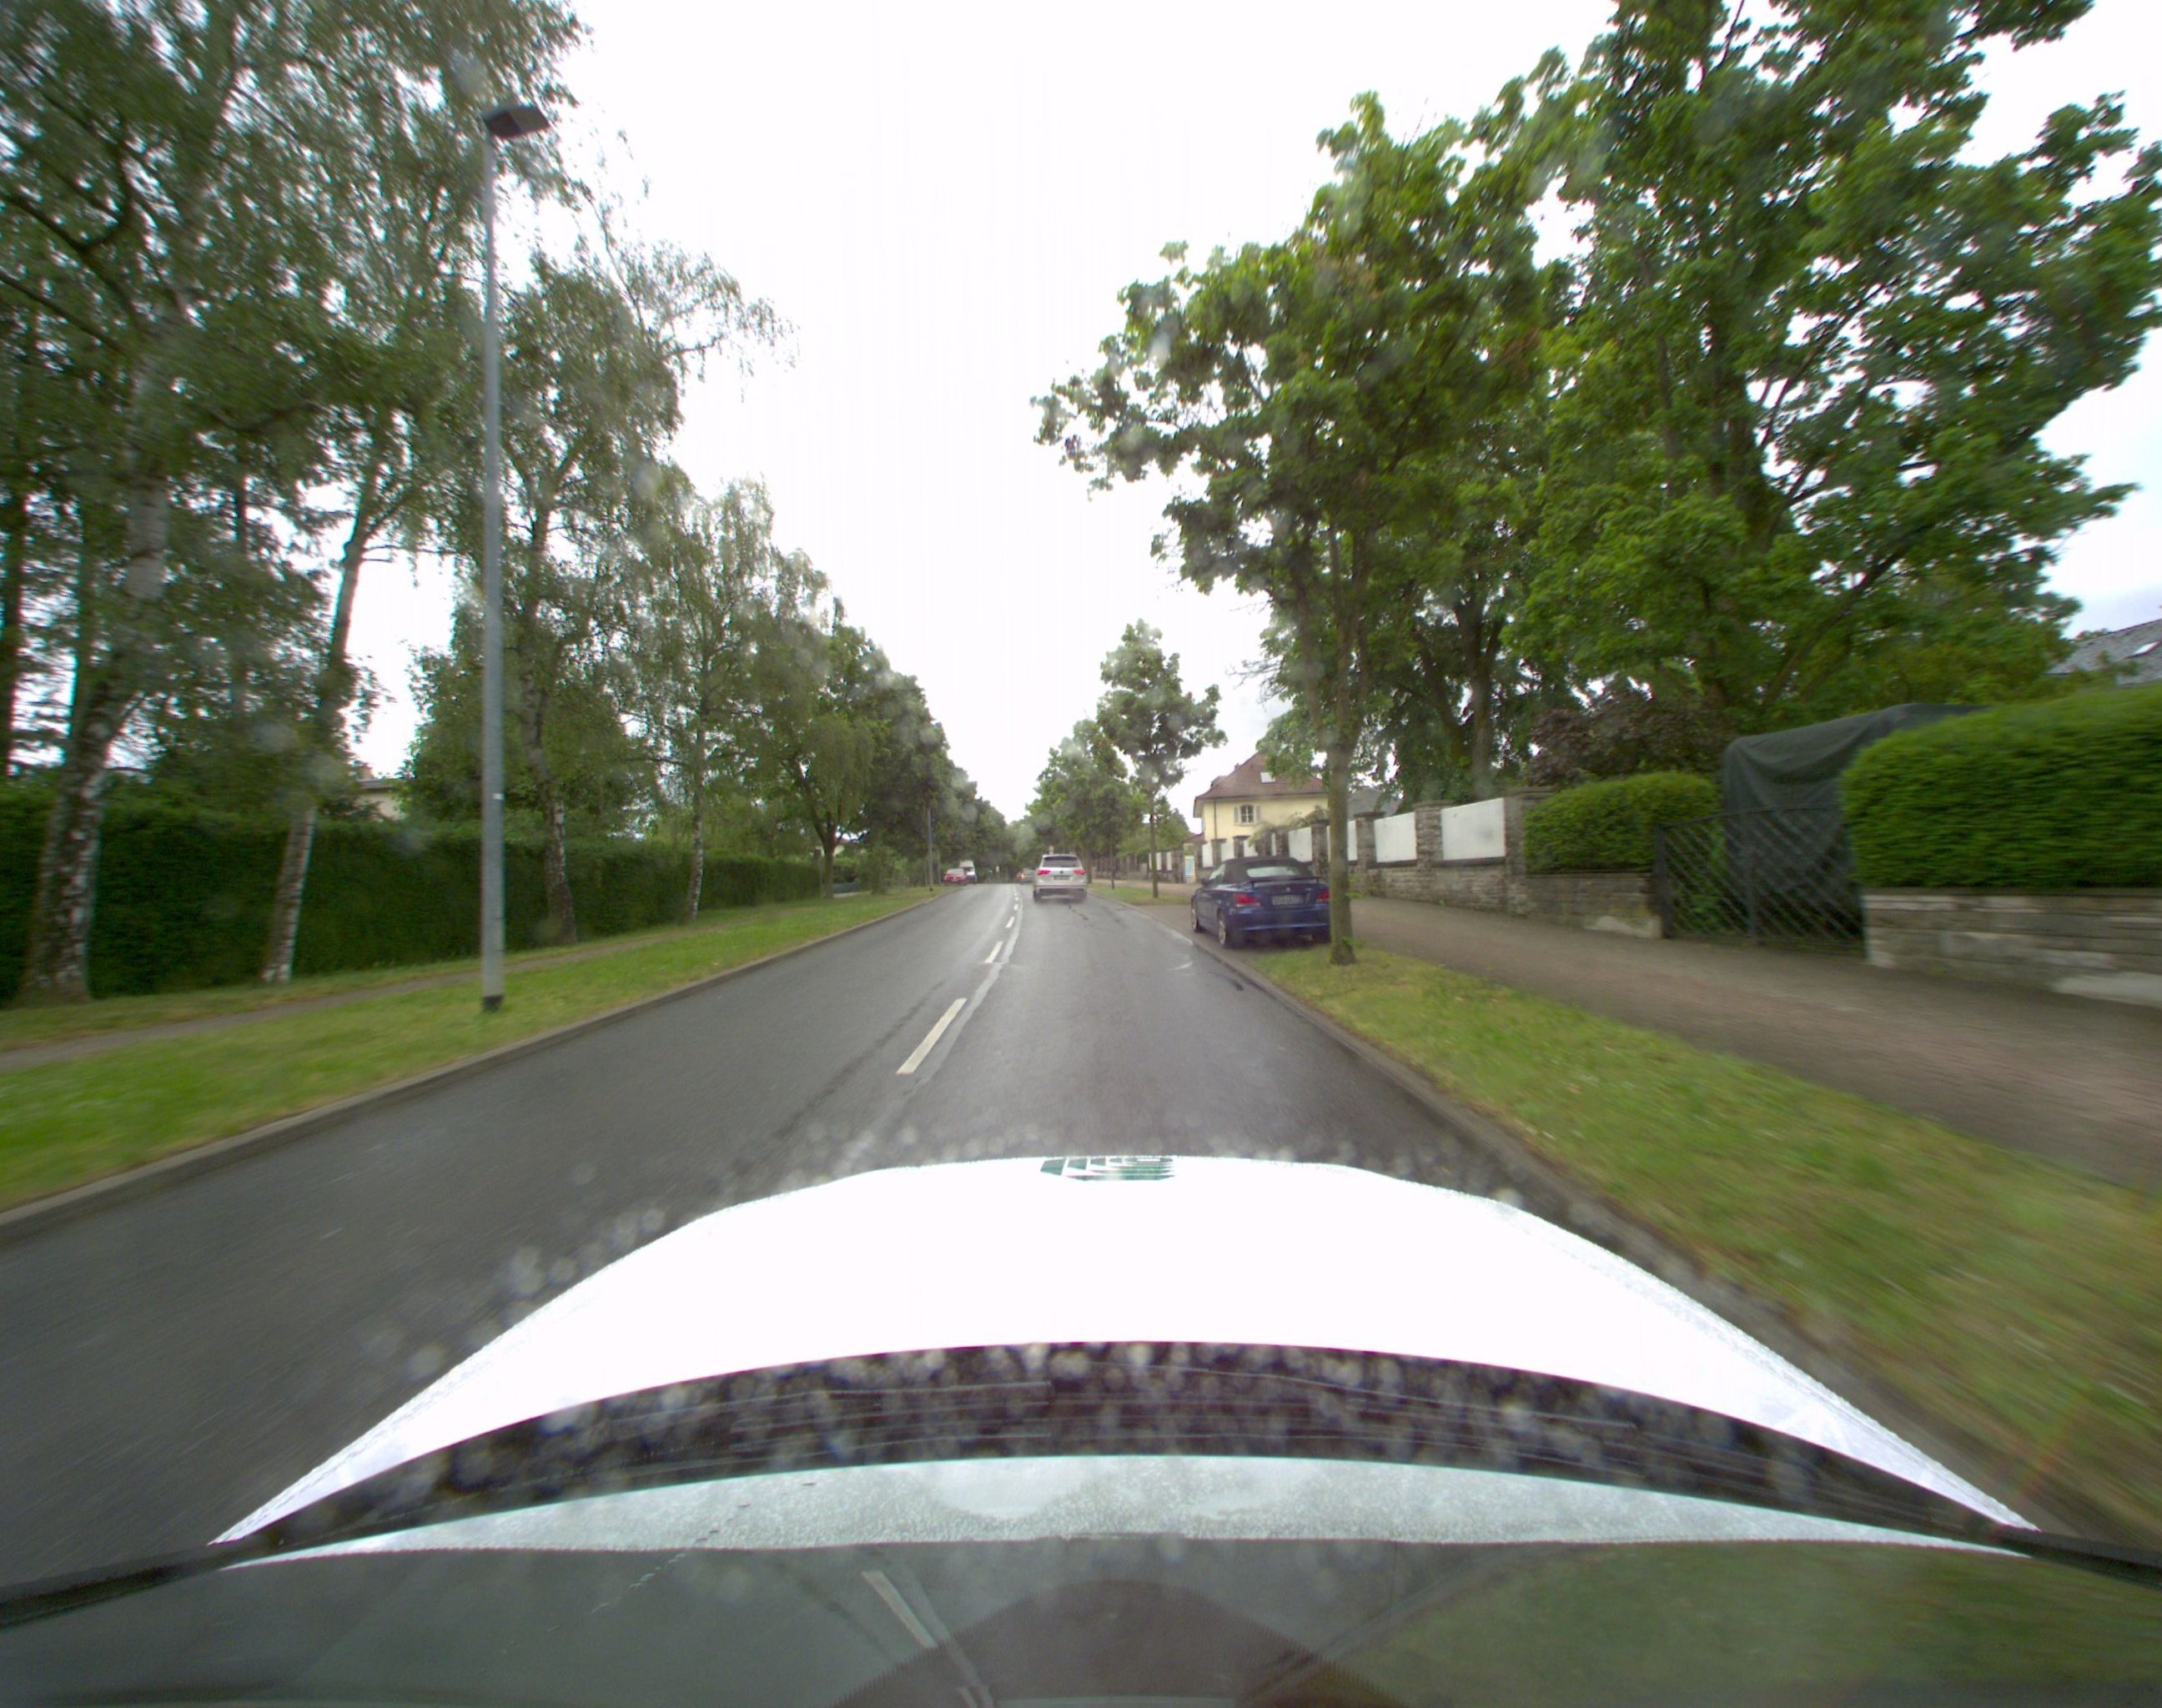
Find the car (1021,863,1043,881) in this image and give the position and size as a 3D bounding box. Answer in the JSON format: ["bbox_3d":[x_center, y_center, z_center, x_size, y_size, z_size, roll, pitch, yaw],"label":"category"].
[{"bbox_3d":[-4.302,1.523,71.249,1.837,1.487,3.994,0,0,-4],"label":"car"}]

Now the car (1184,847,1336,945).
[{"bbox_3d":[2.937,0.656,14.159,1.637,1.377,3.826,-4,-1,-2],"label":"car"}]

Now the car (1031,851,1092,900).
[{"bbox_3d":[-0.775,0.716,29.556,1.993,1.632,3.994,-1,0,-4],"label":"car"}]

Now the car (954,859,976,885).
[{"bbox_3d":[-12.112,1.905,85.408,1.991,2.561,5.221,-2,-2,-6],"label":"car"}]

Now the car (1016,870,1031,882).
[{"bbox_3d":[-7.168,2.701,101.811,1.848,1.418,4.220,0,0,-4],"label":"car"}]

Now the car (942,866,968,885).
[{"bbox_3d":[-10.149,1.748,65.812,1.841,1.466,4.240,-1,-1,-6],"label":"car"}]
